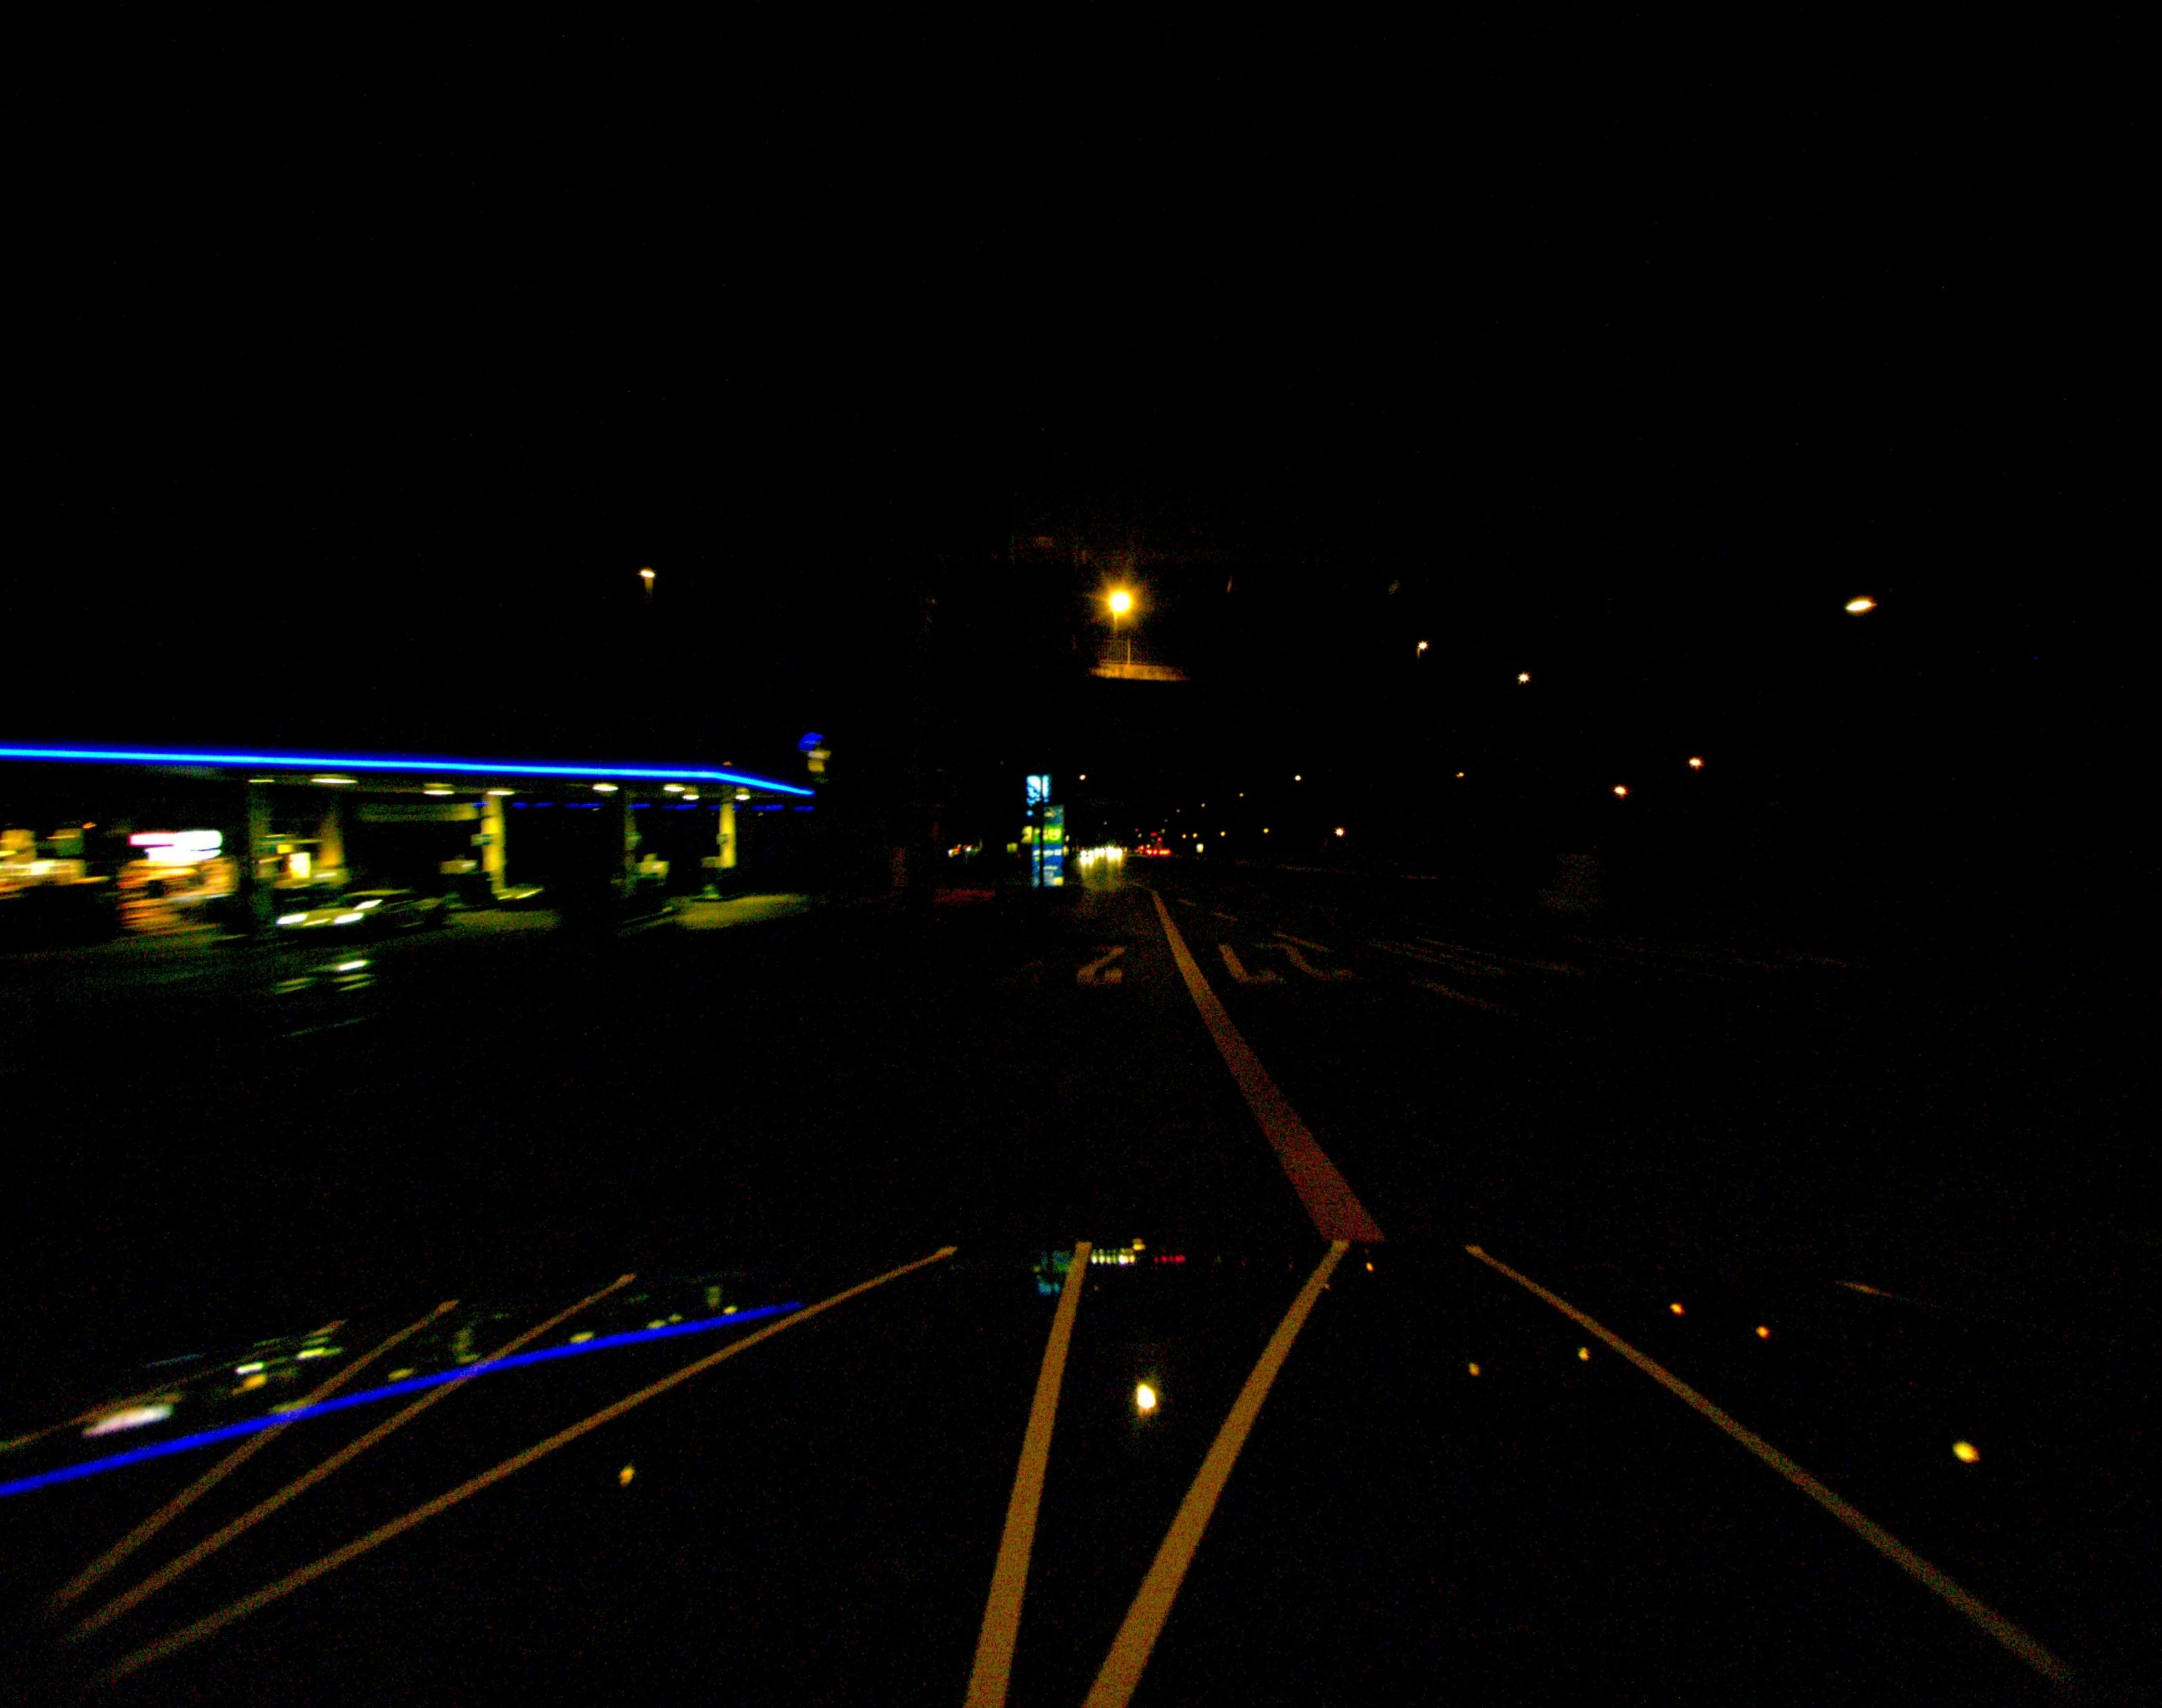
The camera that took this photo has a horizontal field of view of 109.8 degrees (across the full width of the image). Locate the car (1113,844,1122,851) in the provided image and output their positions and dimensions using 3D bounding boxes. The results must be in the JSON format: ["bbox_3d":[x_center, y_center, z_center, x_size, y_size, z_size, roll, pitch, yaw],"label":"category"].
[{"bbox_3d":[8.634,-1.603,179.138,1.991,1.473,4.203,2,1,0],"label":"car"}]

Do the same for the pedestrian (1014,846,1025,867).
[{"bbox_3d":[-5.658,0.190,69.835,0.806,1.902,0.794,3,1,9],"label":"pedestrian"}]

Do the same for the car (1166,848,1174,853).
[{"bbox_3d":[29.867,-1.170,254.558,1.991,1.473,4.203,2,1,0],"label":"car"}]

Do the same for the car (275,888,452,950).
[{"bbox_3d":[-20.874,1.841,22.371,1.658,1.351,4.065,-1,1,-7],"label":"car"}]

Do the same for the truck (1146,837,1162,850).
[{"bbox_3d":[23.922,-3.426,249.050,3.692,3.932,10.415,-1,1,-4],"label":"truck"}]

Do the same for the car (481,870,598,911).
[{"bbox_3d":[-21.872,1.431,30.934,1.932,1.355,4.332,0,1,-5],"label":"car"}]

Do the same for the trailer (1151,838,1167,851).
[{"bbox_3d":[24.554,-3.133,239.604,3.707,3.967,8.390,-1,1,-4],"label":"trailer"}]
